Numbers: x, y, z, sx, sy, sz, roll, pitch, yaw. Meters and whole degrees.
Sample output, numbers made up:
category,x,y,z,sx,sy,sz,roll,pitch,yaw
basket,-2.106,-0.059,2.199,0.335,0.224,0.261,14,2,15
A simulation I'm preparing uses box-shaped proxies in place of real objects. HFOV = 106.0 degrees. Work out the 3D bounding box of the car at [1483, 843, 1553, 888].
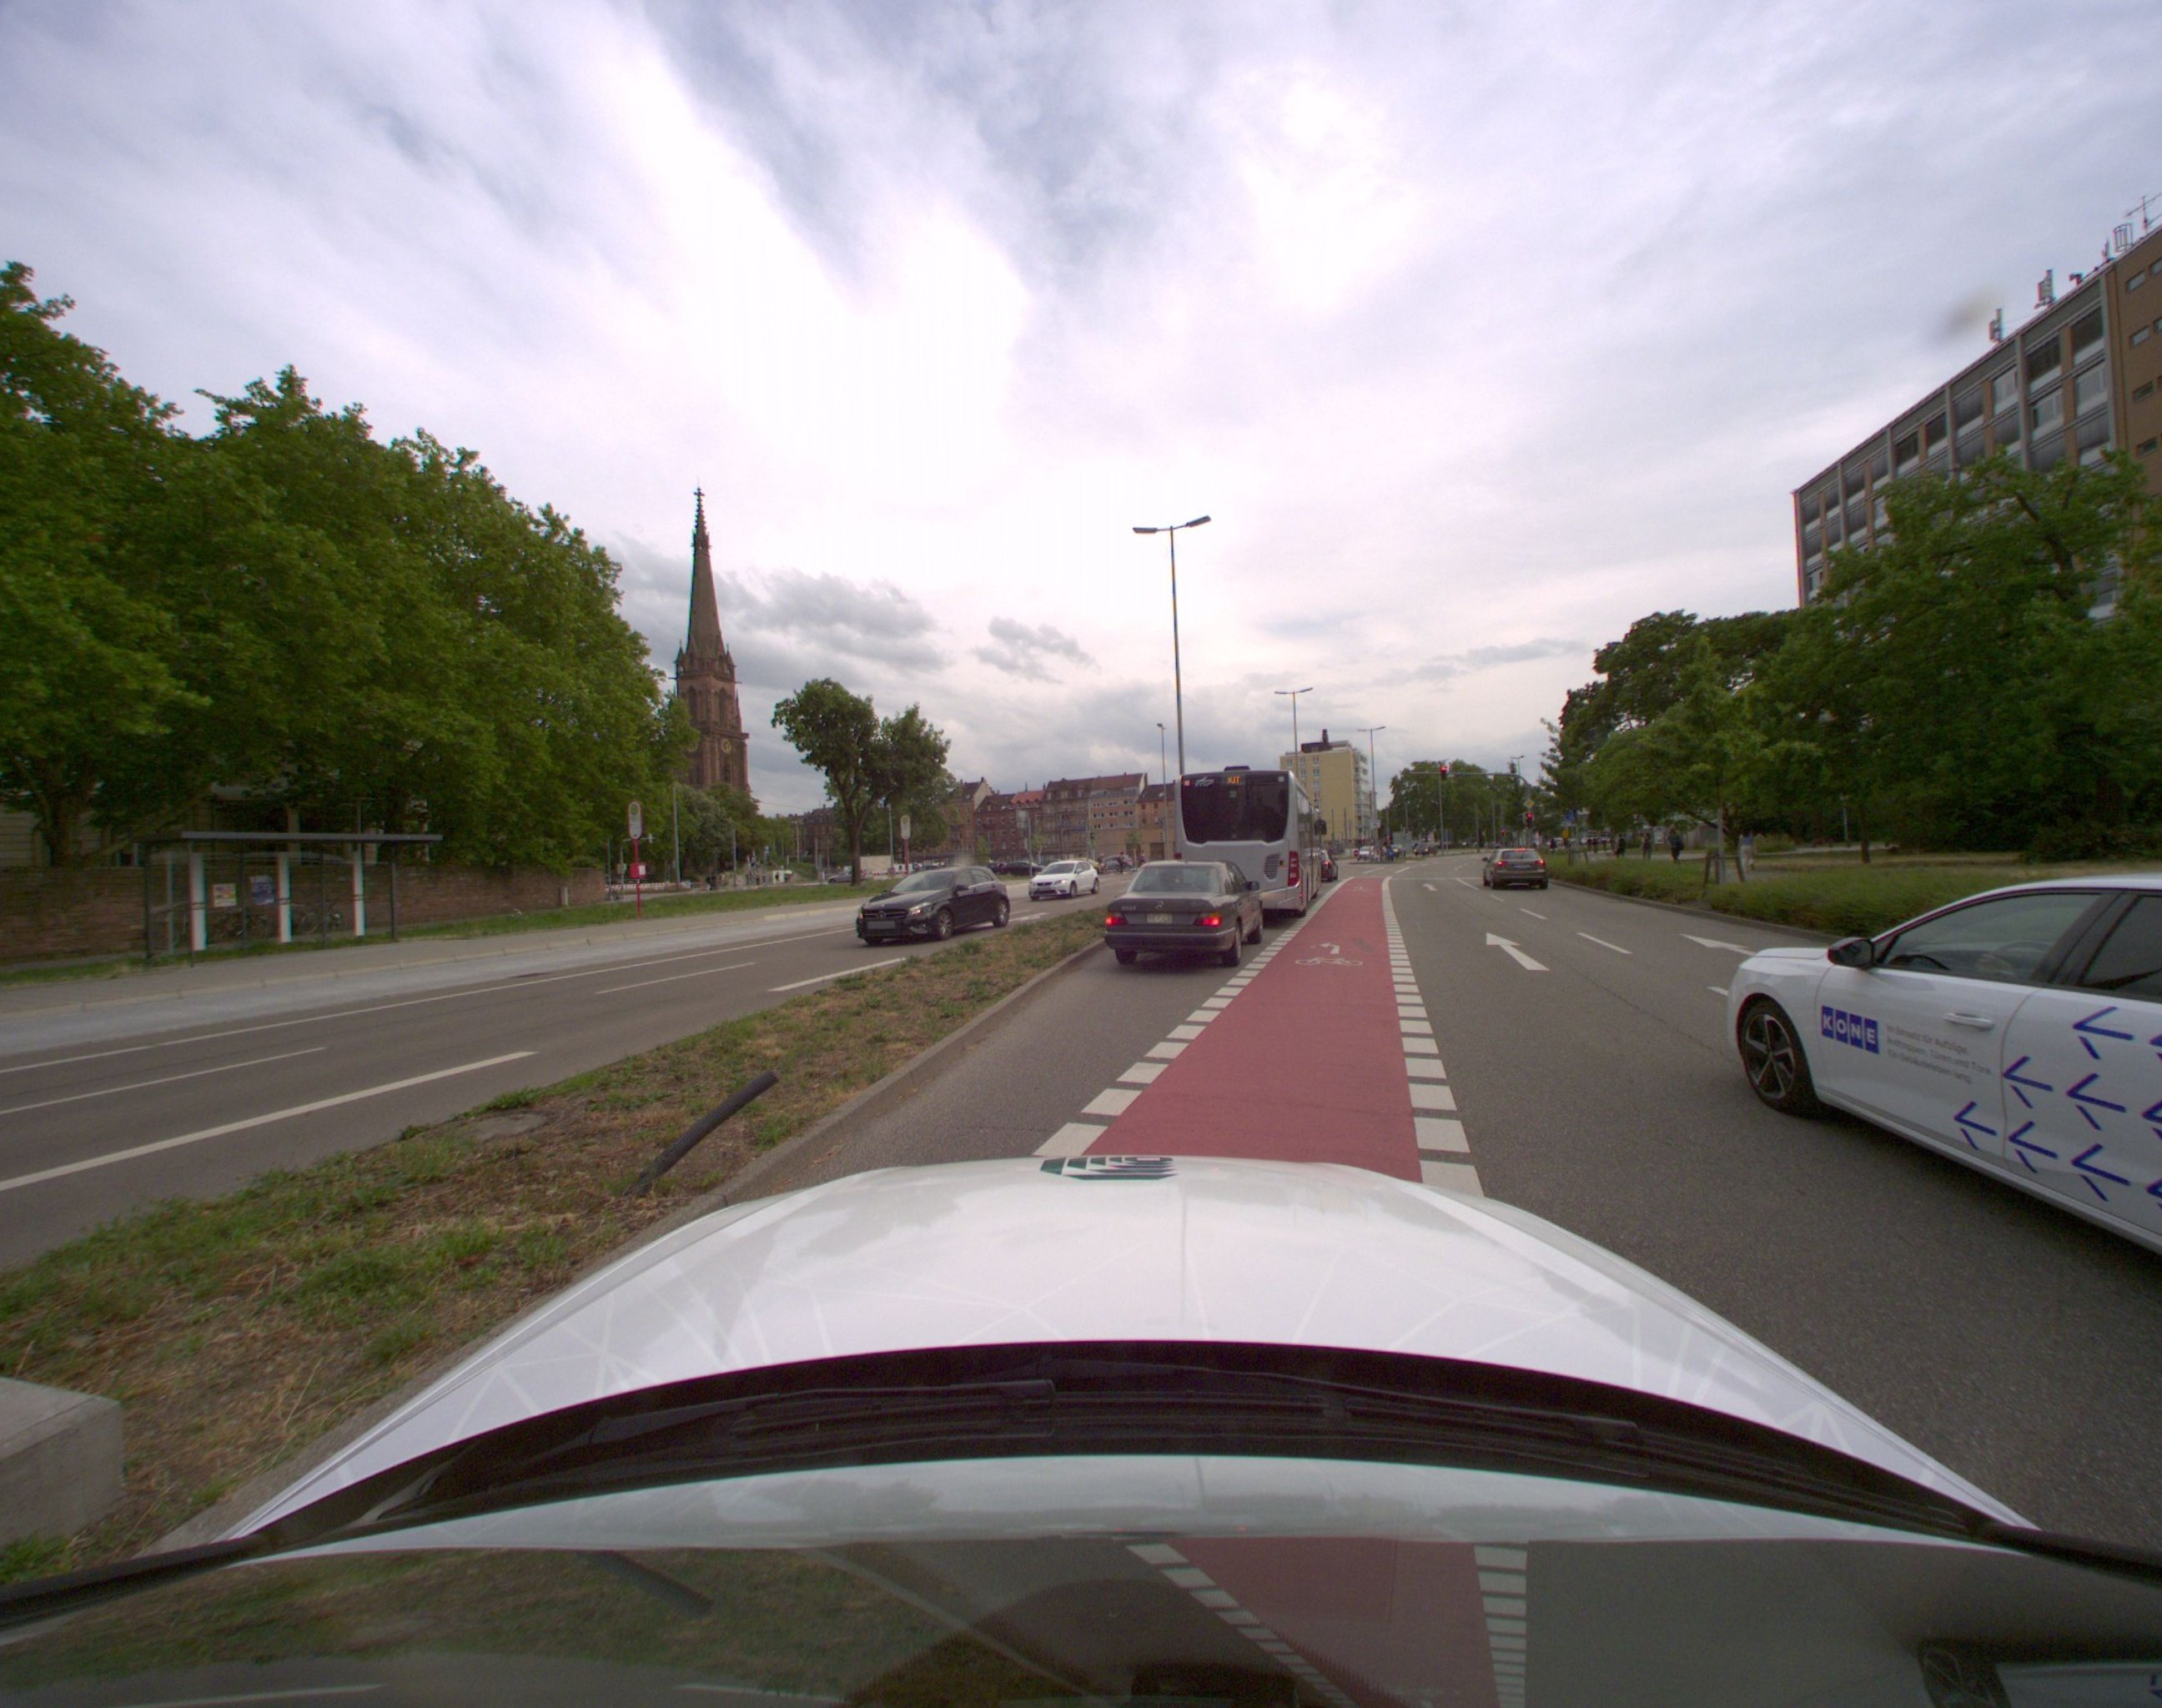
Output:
category,x,y,z,sx,sy,sz,roll,pitch,yaw
car,15.651,0.362,29.325,1.709,1.457,3.755,-2,0,21

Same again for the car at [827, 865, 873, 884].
category,x,y,z,sx,sy,sz,roll,pitch,yaw
car,-23.143,2.026,81.691,4.124,1.649,1.653,-3,0,13

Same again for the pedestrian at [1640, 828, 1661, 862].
category,x,y,z,sx,sy,sz,roll,pitch,yaw
pedestrian,29.337,-0.469,41.946,0.794,1.713,0.770,-3,-1,32

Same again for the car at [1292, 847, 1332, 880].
category,x,y,z,sx,sy,sz,roll,pitch,yaw
car,10.807,0.406,37.944,1.642,1.396,3.877,-2,0,17

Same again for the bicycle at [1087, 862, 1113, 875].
category,x,y,z,sx,sy,sz,roll,pitch,yaw
bicycle,1.578,1.219,67.217,1.950,0.982,0.633,-3,0,14

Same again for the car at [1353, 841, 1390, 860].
category,x,y,z,sx,sy,sz,roll,pitch,yaw
car,34.927,-0.428,97.860,2.558,2.109,5.637,-3,0,36

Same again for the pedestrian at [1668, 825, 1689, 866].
category,x,y,z,sx,sy,sz,roll,pitch,yaw
pedestrian,25.642,-0.351,34.984,0.640,1.713,0.565,-3,-1,34

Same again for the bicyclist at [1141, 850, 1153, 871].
category,x,y,z,sx,sy,sz,roll,pitch,yaw
bicyclist,5.305,0.555,65.406,0.780,1.643,0.616,-3,0,17

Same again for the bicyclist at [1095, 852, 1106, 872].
category,x,y,z,sx,sy,sz,roll,pitch,yaw
bicyclist,1.613,0.663,67.229,0.780,1.643,0.574,-3,0,14

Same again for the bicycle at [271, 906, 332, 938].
category,x,y,z,sx,sy,sz,roll,pitch,yaw
bicycle,-25.239,2.203,26.401,0.480,0.907,1.618,0,0,-4

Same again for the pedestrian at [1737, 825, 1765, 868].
category,x,y,z,sx,sy,sz,roll,pitch,yaw
pedestrian,23.548,-0.278,28.634,0.650,1.470,0.565,-3,-1,36

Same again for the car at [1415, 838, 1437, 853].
category,x,y,z,sx,sy,sz,roll,pitch,yaw
car,49.595,-1.179,117.030,1.974,2.013,4.026,-3,0,35

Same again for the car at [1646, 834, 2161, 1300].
category,x,y,z,sx,sy,sz,roll,pitch,yaw
car,4.432,0.662,3.279,1.729,1.439,4.797,-2,0,11

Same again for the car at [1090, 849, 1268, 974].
category,x,y,z,sx,sy,sz,roll,pitch,yaw
car,1.657,0.726,12.190,1.747,1.489,4.191,-2,0,19

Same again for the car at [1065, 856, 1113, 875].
category,x,y,z,sx,sy,sz,roll,pitch,yaw
car,0.723,0.967,70.075,3.828,1.517,1.667,-1,0,14

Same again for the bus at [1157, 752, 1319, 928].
category,x,y,z,sx,sy,sz,roll,pitch,yaw
bus,4.224,-0.289,20.078,2.809,3.390,8.221,-2,0,18

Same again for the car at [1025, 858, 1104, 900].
category,x,y,z,sx,sy,sz,roll,pitch,yaw
car,-0.587,0.959,32.738,1.682,1.443,4.197,-3,0,20

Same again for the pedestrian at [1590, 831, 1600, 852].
category,x,y,z,sx,sy,sz,roll,pitch,yaw
pedestrian,50.540,-1.215,80.115,0.609,2.013,0.600,-2,0,18

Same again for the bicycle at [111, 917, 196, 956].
category,x,y,z,sx,sy,sz,roll,pitch,yaw
bicycle,-24.770,2.186,21.788,0.480,0.907,1.618,0,0,-4

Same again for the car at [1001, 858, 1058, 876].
category,x,y,z,sx,sy,sz,roll,pitch,yaw
car,-4.505,1.147,71.061,4.635,1.475,1.667,-1,0,14

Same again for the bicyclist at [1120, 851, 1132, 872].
category,x,y,z,sx,sy,sz,roll,pitch,yaw
bicyclist,3.662,0.591,66.246,0.780,1.643,0.575,-3,0,19

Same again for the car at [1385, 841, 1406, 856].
category,x,y,z,sx,sy,sz,roll,pitch,yaw
car,41.131,-0.746,106.452,1.789,1.850,4.026,-3,0,32

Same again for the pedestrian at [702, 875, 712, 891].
category,x,y,z,sx,sy,sz,roll,pitch,yaw
pedestrian,-37.895,2.974,82.538,0.557,1.560,0.728,-3,-1,14

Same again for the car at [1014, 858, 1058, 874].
category,x,y,z,sx,sy,sz,roll,pitch,yaw
car,-4.157,1.141,75.677,3.736,1.394,1.591,-1,0,14

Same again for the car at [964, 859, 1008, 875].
category,x,y,z,sx,sy,sz,roll,pitch,yaw
car,-8.978,1.243,76.782,3.736,1.394,1.591,-1,0,14

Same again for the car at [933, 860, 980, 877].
category,x,y,z,sx,sy,sz,roll,pitch,yaw
car,-11.113,1.287,72.837,3.736,1.394,1.591,-1,0,14

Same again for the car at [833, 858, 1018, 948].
category,x,y,z,sx,sy,sz,roll,pitch,yaw
car,-3.083,0.938,17.188,1.740,1.489,4.399,-4,-1,20

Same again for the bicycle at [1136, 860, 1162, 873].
category,x,y,z,sx,sy,sz,roll,pitch,yaw
bicycle,5.423,0.987,65.366,1.949,0.982,0.634,-3,0,17

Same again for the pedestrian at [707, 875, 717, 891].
category,x,y,z,sx,sy,sz,roll,pitch,yaw
pedestrian,-37.089,2.956,81.871,0.557,1.560,0.728,-3,-1,14

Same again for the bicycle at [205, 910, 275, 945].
category,x,y,z,sx,sy,sz,roll,pitch,yaw
bicycle,-25.158,2.198,24.397,0.480,0.907,1.618,0,0,-4

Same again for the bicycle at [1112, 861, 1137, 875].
category,x,y,z,sx,sy,sz,roll,pitch,yaw
bicycle,3.544,1.132,66.283,1.948,0.982,0.634,-3,0,18

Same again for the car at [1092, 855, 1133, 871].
category,x,y,z,sx,sy,sz,roll,pitch,yaw
car,2.840,0.791,74.263,3.659,1.394,1.585,-1,0,1
